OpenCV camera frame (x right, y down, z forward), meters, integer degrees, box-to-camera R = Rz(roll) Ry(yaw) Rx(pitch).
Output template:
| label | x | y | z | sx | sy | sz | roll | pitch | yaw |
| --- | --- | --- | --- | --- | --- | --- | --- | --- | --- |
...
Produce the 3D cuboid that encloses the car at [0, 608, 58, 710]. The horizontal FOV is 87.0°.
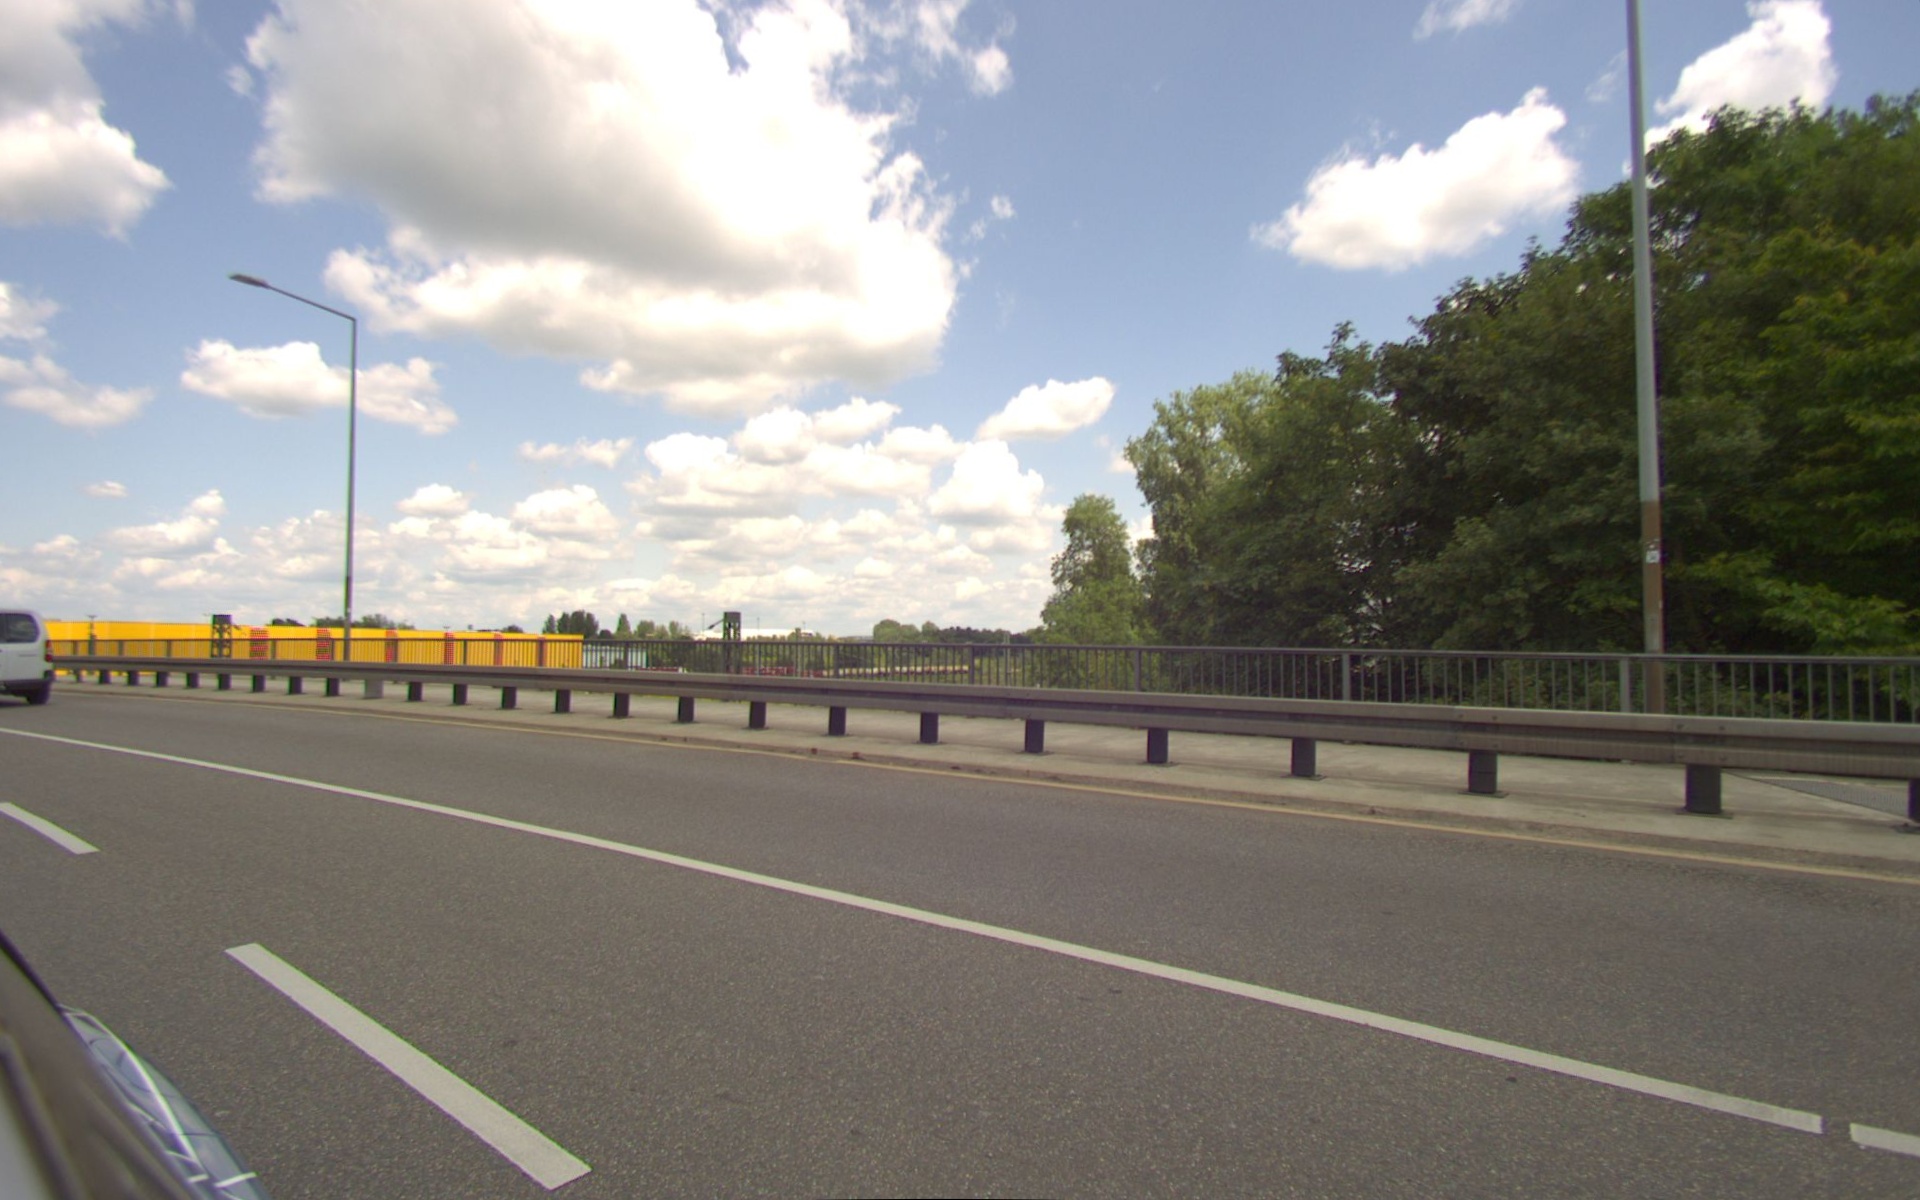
| label | x | y | z | sx | sy | sz | roll | pitch | yaw |
| --- | --- | --- | --- | --- | --- | --- | --- | --- | --- |
| car | -18.603 | 1.066 | 18.630 | 4.289 | 1.767 | 1.800 | -1 | -2 | 31 |
